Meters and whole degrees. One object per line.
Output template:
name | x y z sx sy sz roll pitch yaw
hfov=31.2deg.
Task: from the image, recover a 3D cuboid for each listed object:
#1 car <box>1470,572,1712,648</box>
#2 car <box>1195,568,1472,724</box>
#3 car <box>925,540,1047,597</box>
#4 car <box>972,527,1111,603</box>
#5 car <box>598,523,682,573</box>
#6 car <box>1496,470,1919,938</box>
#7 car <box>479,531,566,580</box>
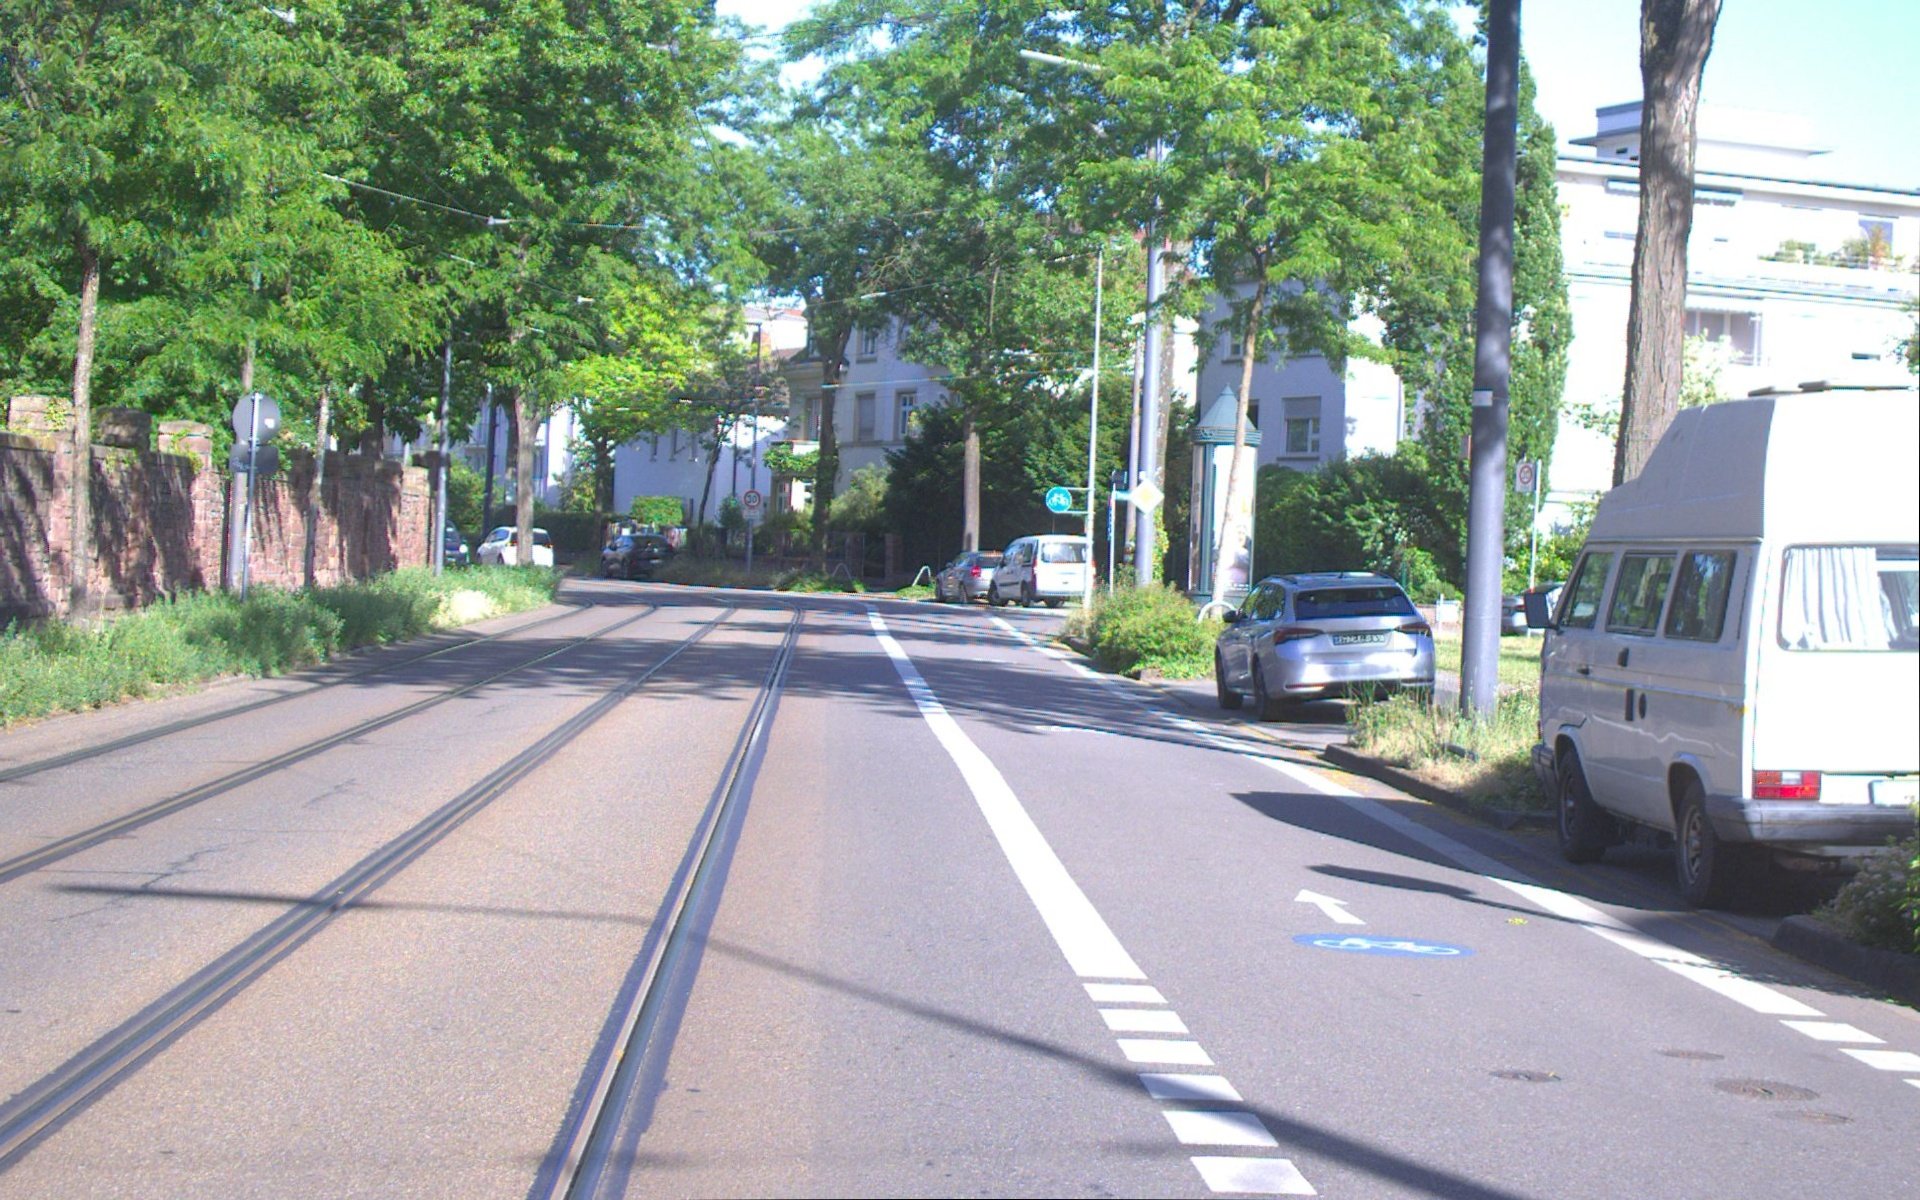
car | 13.111 0.200 71.440 4.509 1.364 1.969 2 1 -20
car | 3.828 0.422 36.229 2.000 1.460 5.434 -1 1 -3
car | 0.671 -0.852 92.425 1.993 1.418 4.334 2 0 -18
car | 2.008 -0.906 86.563 2.022 1.741 4.753 2 1 -17
car | -11.571 -1.889 124.090 1.804 1.688 4.730 -1 2 -21
car | 4.337 0.439 17.907 1.993 2.088 4.717 2 1 -4
car | -15.499 -1.544 121.660 1.892 1.605 4.230 3 -1 -24
